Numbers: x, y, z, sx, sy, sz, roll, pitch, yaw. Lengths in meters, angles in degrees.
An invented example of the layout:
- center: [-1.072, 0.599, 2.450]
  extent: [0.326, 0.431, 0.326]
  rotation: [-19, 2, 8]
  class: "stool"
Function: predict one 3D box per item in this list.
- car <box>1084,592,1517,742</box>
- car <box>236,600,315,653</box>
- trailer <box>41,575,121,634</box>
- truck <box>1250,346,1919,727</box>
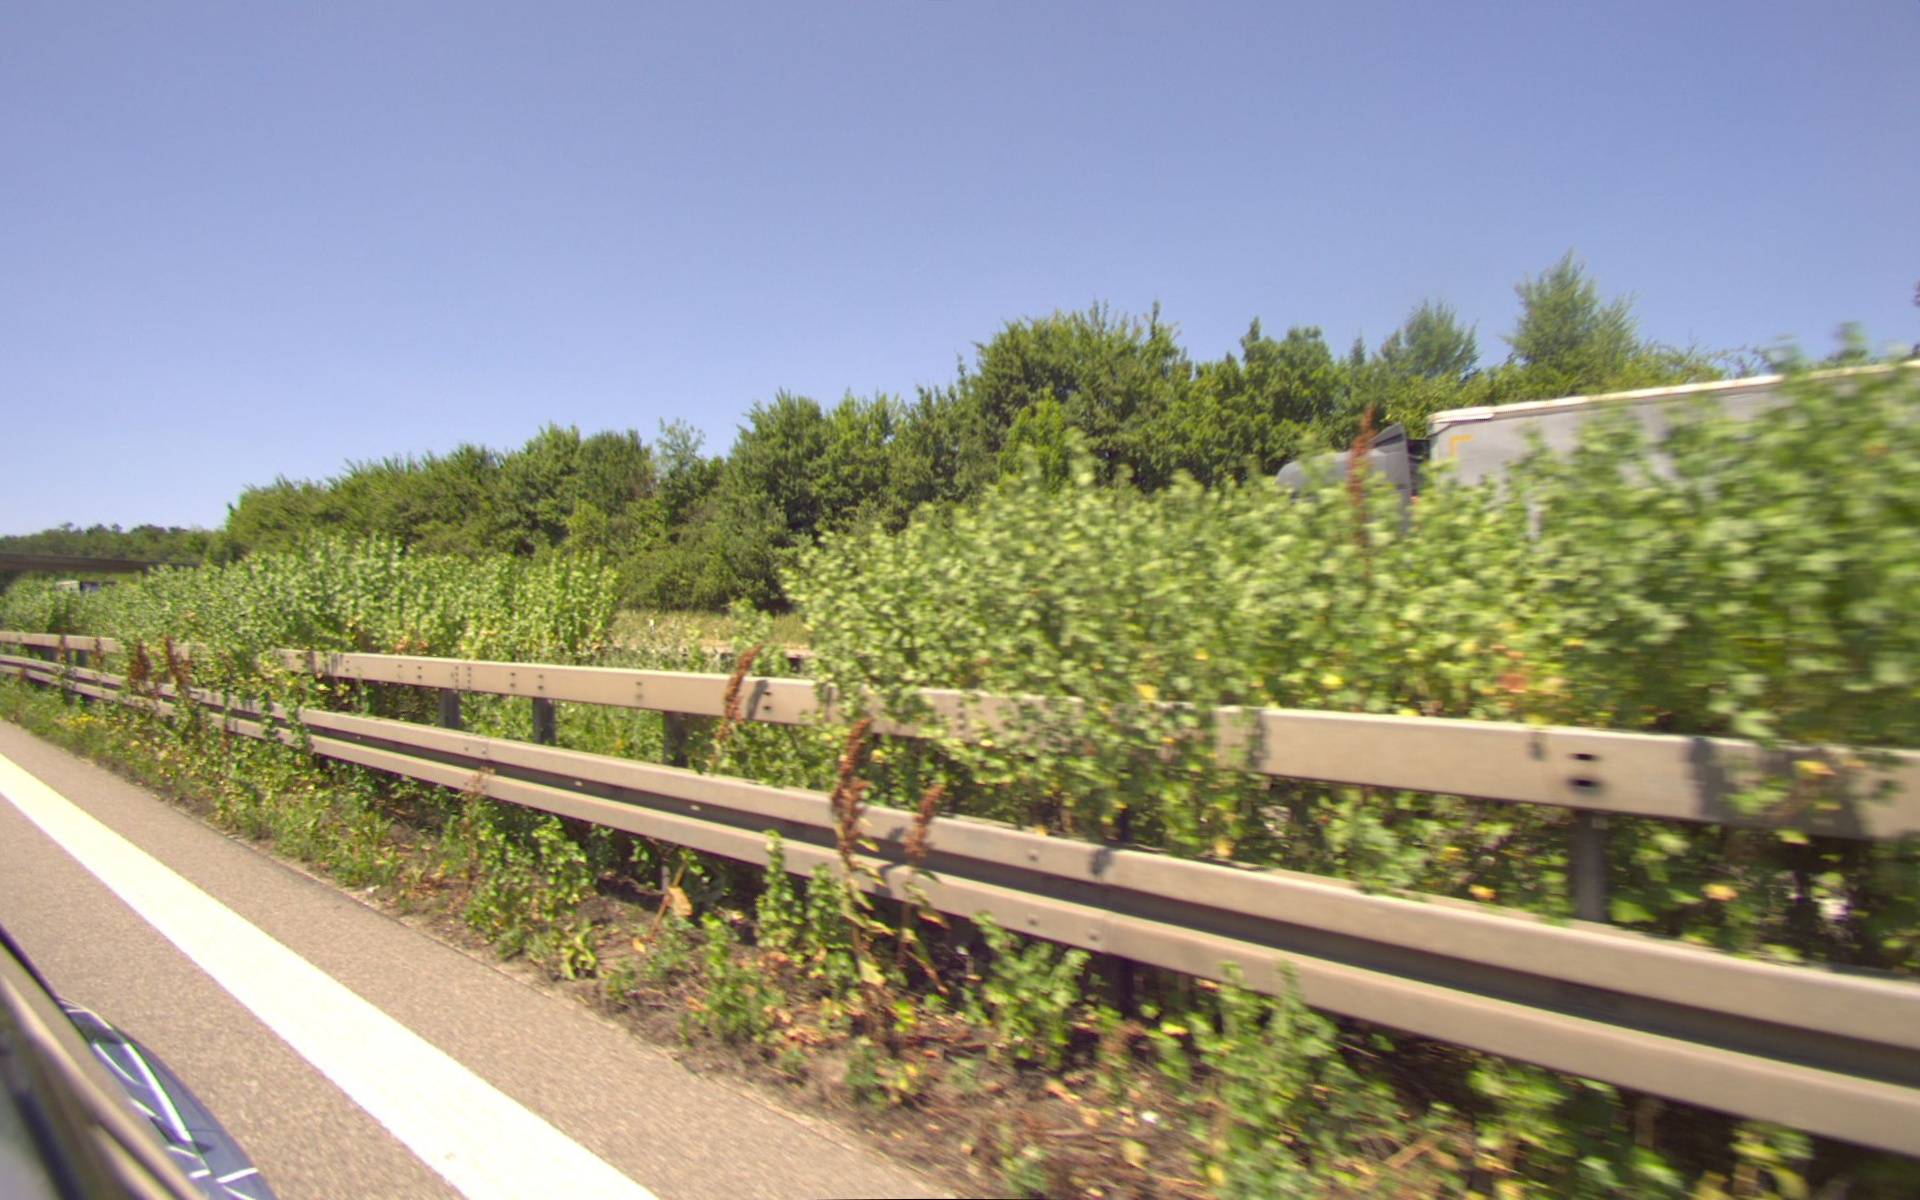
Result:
- center: [3.986, 0.704, 12.479]
  extent: [4.865, 1.525, 1.484]
  rotation: [-1, 0, 40]
  class: "car"
- center: [-27.971, 1.072, 41.330]
  extent: [3.998, 2.029, 1.718]
  rotation: [-2, -1, 41]
  class: "car"
- center: [-71.892, 0.453, 82.593]
  extent: [14.663, 4.286, 2.608]
  rotation: [-3, -1, 40]
  class: "trailer"
- center: [11.847, -0.706, 11.261]
  extent: [16.814, 4.044, 2.945]
  rotation: [-1, 0, 40]
  class: "truck"
